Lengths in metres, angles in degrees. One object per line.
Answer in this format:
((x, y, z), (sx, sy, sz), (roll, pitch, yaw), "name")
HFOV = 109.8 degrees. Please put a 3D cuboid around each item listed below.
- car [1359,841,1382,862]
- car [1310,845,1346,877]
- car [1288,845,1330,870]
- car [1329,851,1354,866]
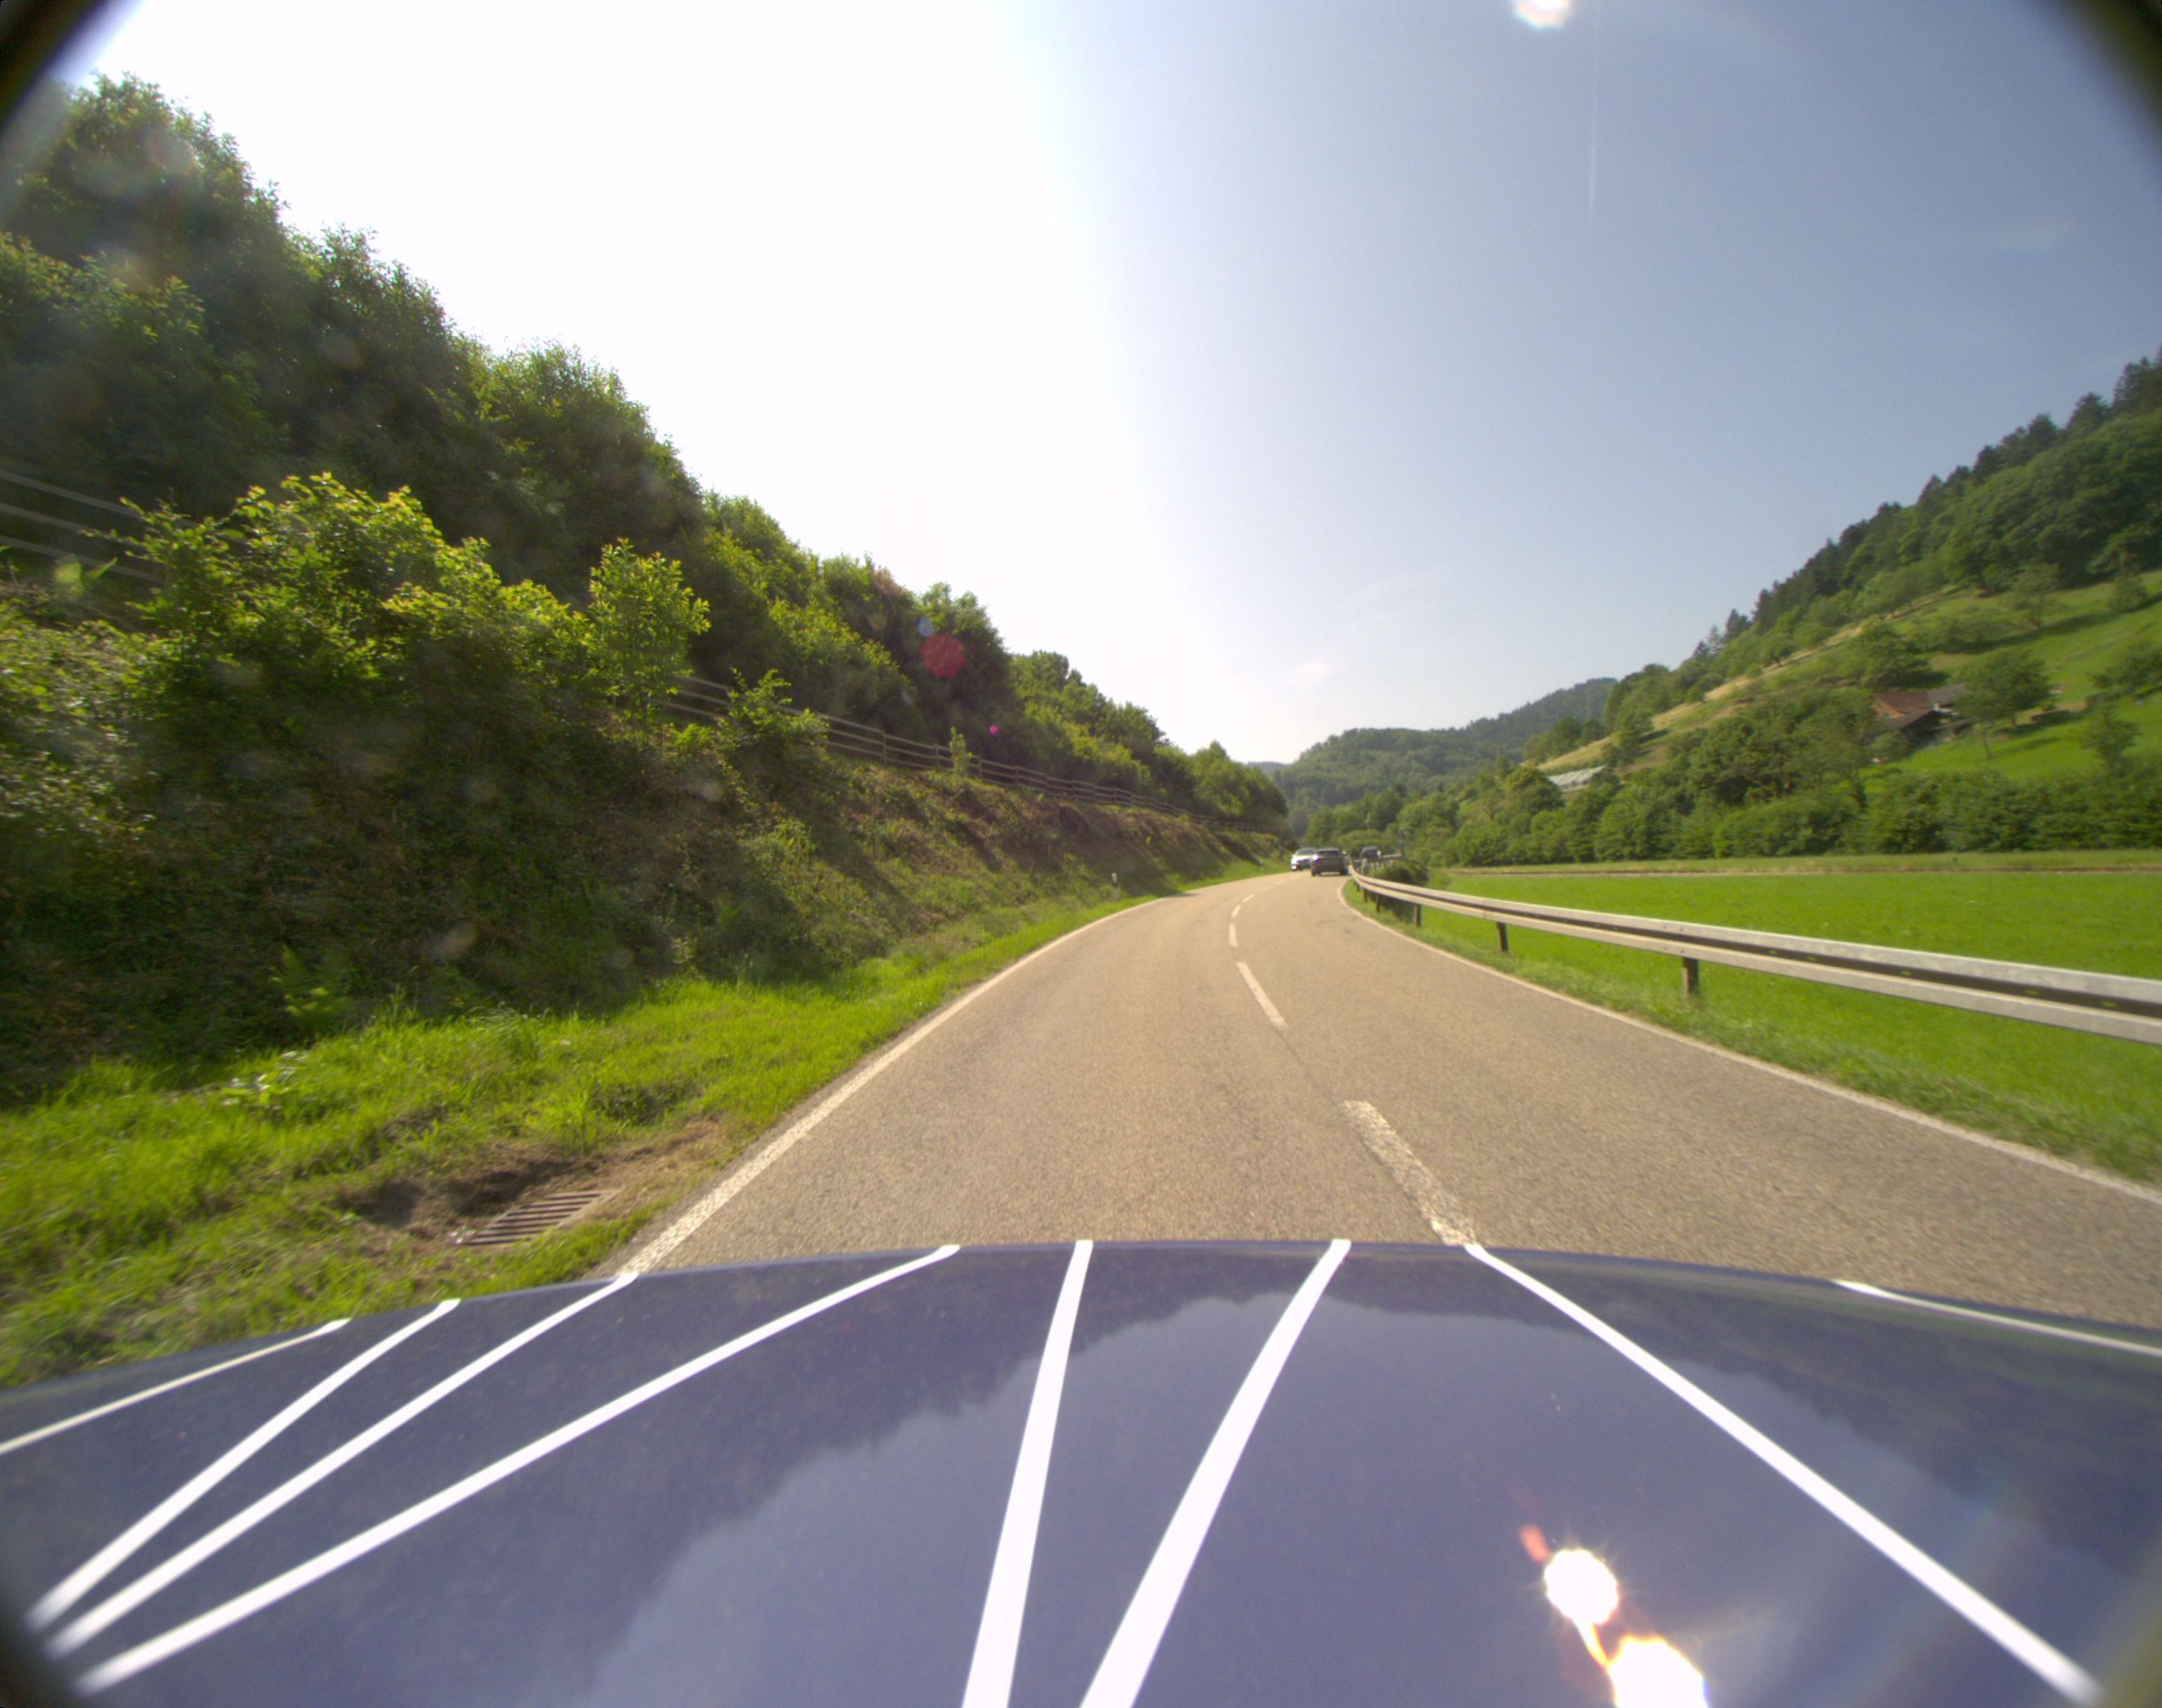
((29.574, -0.267, 77.561), (1.995, 2.002, 4.005), (-2, 1, 23), "car")
((14.543, 0.389, 44.569), (1.710, 1.665, 4.006), (-4, -1, 21), "car")
((18.204, 0.254, 60.547), (2.114, 1.803, 4.463), (-4, -1, 29), "car")
((26.899, 0.474, 78.421), (2.143, 1.482, 4.679), (-1, 0, 22), "car")
